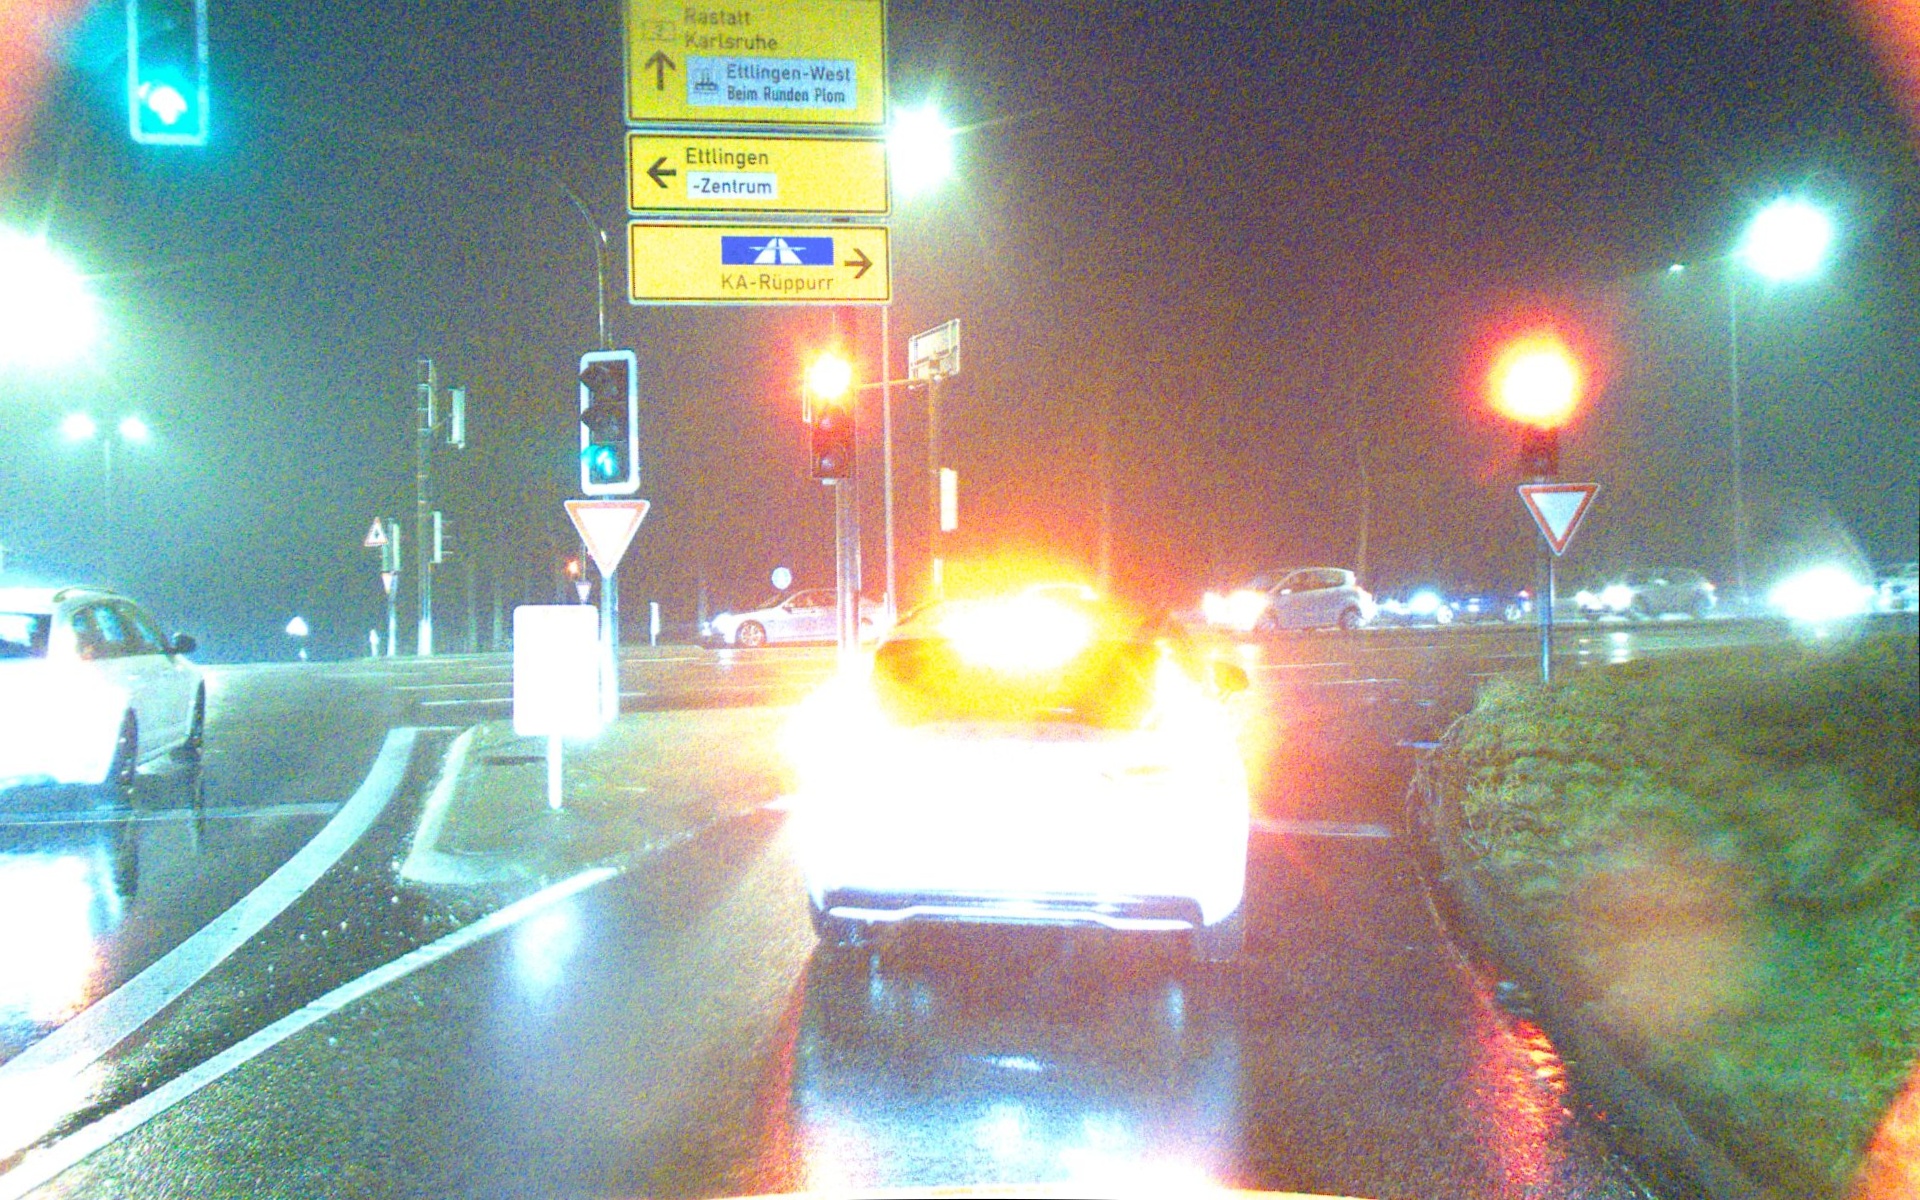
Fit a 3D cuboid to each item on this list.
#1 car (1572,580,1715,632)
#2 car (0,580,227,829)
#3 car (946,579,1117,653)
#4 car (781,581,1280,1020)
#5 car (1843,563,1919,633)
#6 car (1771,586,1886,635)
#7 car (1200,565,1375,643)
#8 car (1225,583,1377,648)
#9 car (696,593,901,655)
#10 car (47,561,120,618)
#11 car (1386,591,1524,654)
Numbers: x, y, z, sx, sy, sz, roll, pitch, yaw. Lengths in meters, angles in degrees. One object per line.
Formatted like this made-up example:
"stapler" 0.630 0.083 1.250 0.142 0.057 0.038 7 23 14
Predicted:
"car" 20.469 0.197 49.494 3.991 1.513 1.705 1 -1 -24
"car" -6.578 0.644 11.906 1.670 1.489 4.298 0 0 -14
"car" 1.897 0.422 43.665 4.221 1.880 1.749 1 -1 -28
"car" 0.552 0.663 7.918 1.758 1.477 4.272 0 1 9
"car" 38.564 -0.055 66.966 5.524 2.757 2.237 1 -1 -27
"car" 31.671 0.393 60.309 4.064 1.744 1.749 1 -1 -28
"car" 7.849 0.060 39.626 3.841 1.755 1.751 -1 1 -26
"car" 9.943 0.451 48.145 4.187 1.830 1.788 1 -1 -28
"car" -3.945 0.594 40.645 4.730 1.452 1.750 1 -1 -27
"car" -33.493 -0.388 63.286 1.748 2.115 3.979 1 0 -18
"car" 15.229 0.687 50.848 4.064 1.880 1.749 1 -1 -28
